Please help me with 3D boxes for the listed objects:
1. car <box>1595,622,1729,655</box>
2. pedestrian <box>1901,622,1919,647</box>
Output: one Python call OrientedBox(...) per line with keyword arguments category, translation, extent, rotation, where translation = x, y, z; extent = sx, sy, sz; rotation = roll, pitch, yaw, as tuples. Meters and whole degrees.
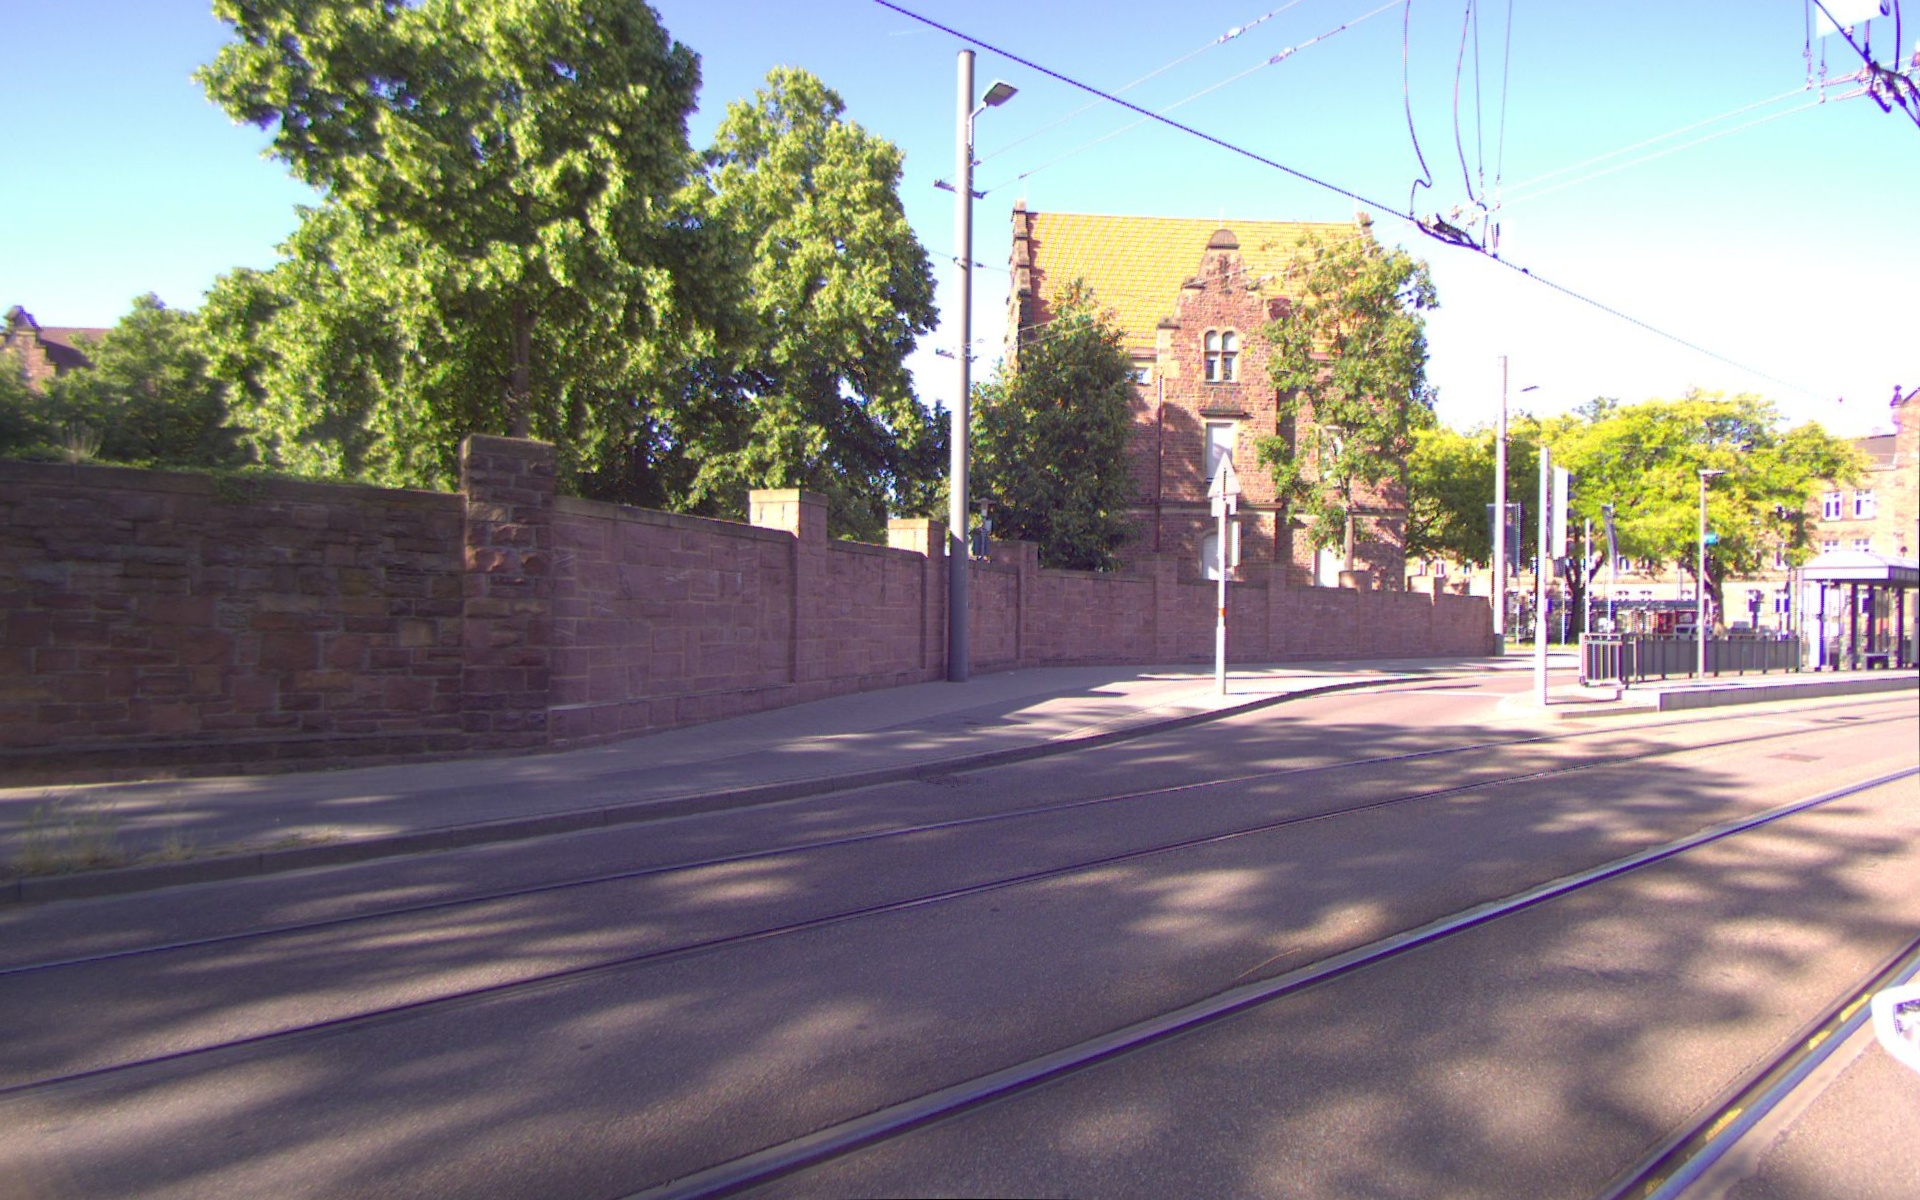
OrientedBox(category="car", translation=(47.942, 2.588, 68.801), extent=(2.957, 1.946, 6.915), rotation=(1, -1, -30))
OrientedBox(category="pedestrian", translation=(64.068, 2.332, 67.584), extent=(0.796, 1.609, 0.926), rotation=(2, 0, -33))
